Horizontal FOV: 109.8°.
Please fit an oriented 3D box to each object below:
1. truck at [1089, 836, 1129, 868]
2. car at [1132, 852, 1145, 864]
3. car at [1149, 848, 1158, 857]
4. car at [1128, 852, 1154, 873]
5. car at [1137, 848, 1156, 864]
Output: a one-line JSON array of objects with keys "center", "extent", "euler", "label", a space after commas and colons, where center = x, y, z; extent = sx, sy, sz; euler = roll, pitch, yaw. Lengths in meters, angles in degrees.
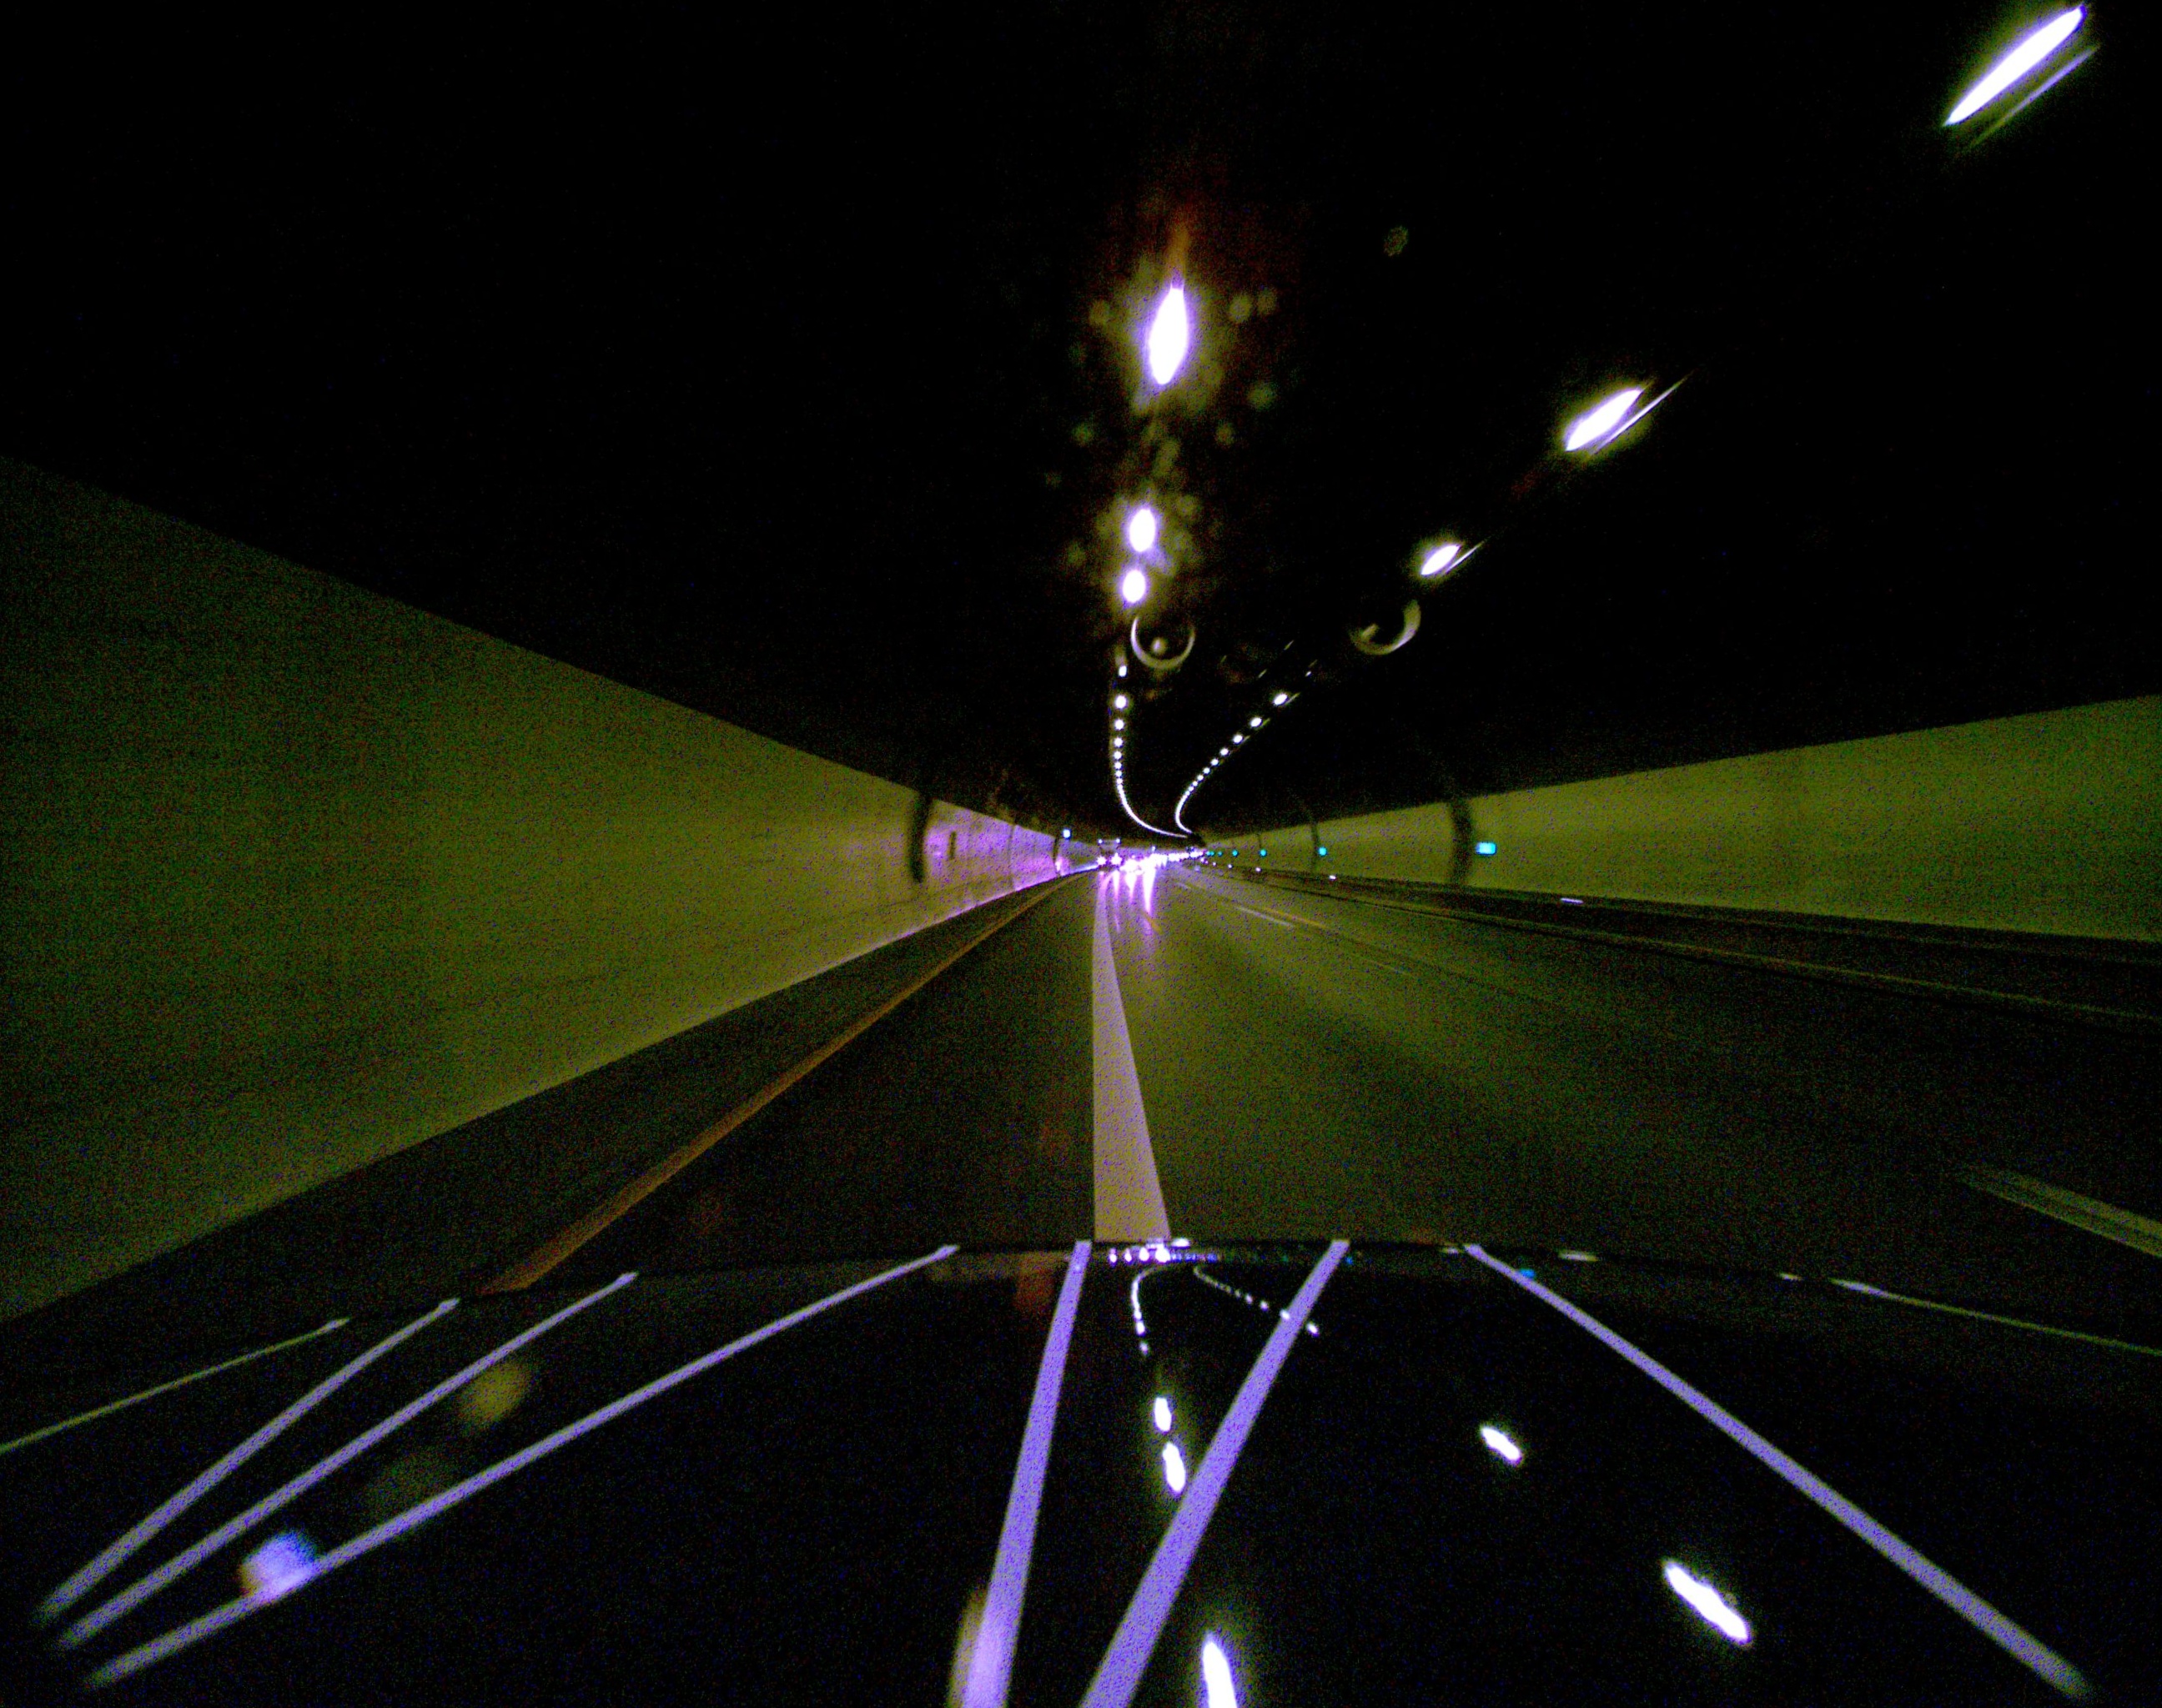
[{"center": [3.157, -0.223, 82.050], "extent": [2.987, 3.161, 10.516], "euler": [-1, 0, 9], "label": "truck"}, {"center": [10.023, 0.721, 132.656], "extent": [1.997, 2.002, 4.003], "euler": [-1, 0, 9], "label": "car"}, {"center": [17.153, -0.370, 179.329], "extent": [1.997, 1.917, 4.388], "euler": [-1, 0, 9], "label": "car"}, {"center": [5.208, 0.735, 66.365], "extent": [2.171, 1.709, 4.482], "euler": [-1, 0, 4], "label": "car"}, {"center": [7.321, 0.196, 85.532], "extent": [1.998, 1.655, 4.001], "euler": [-1, 1, 4], "label": "car"}]
